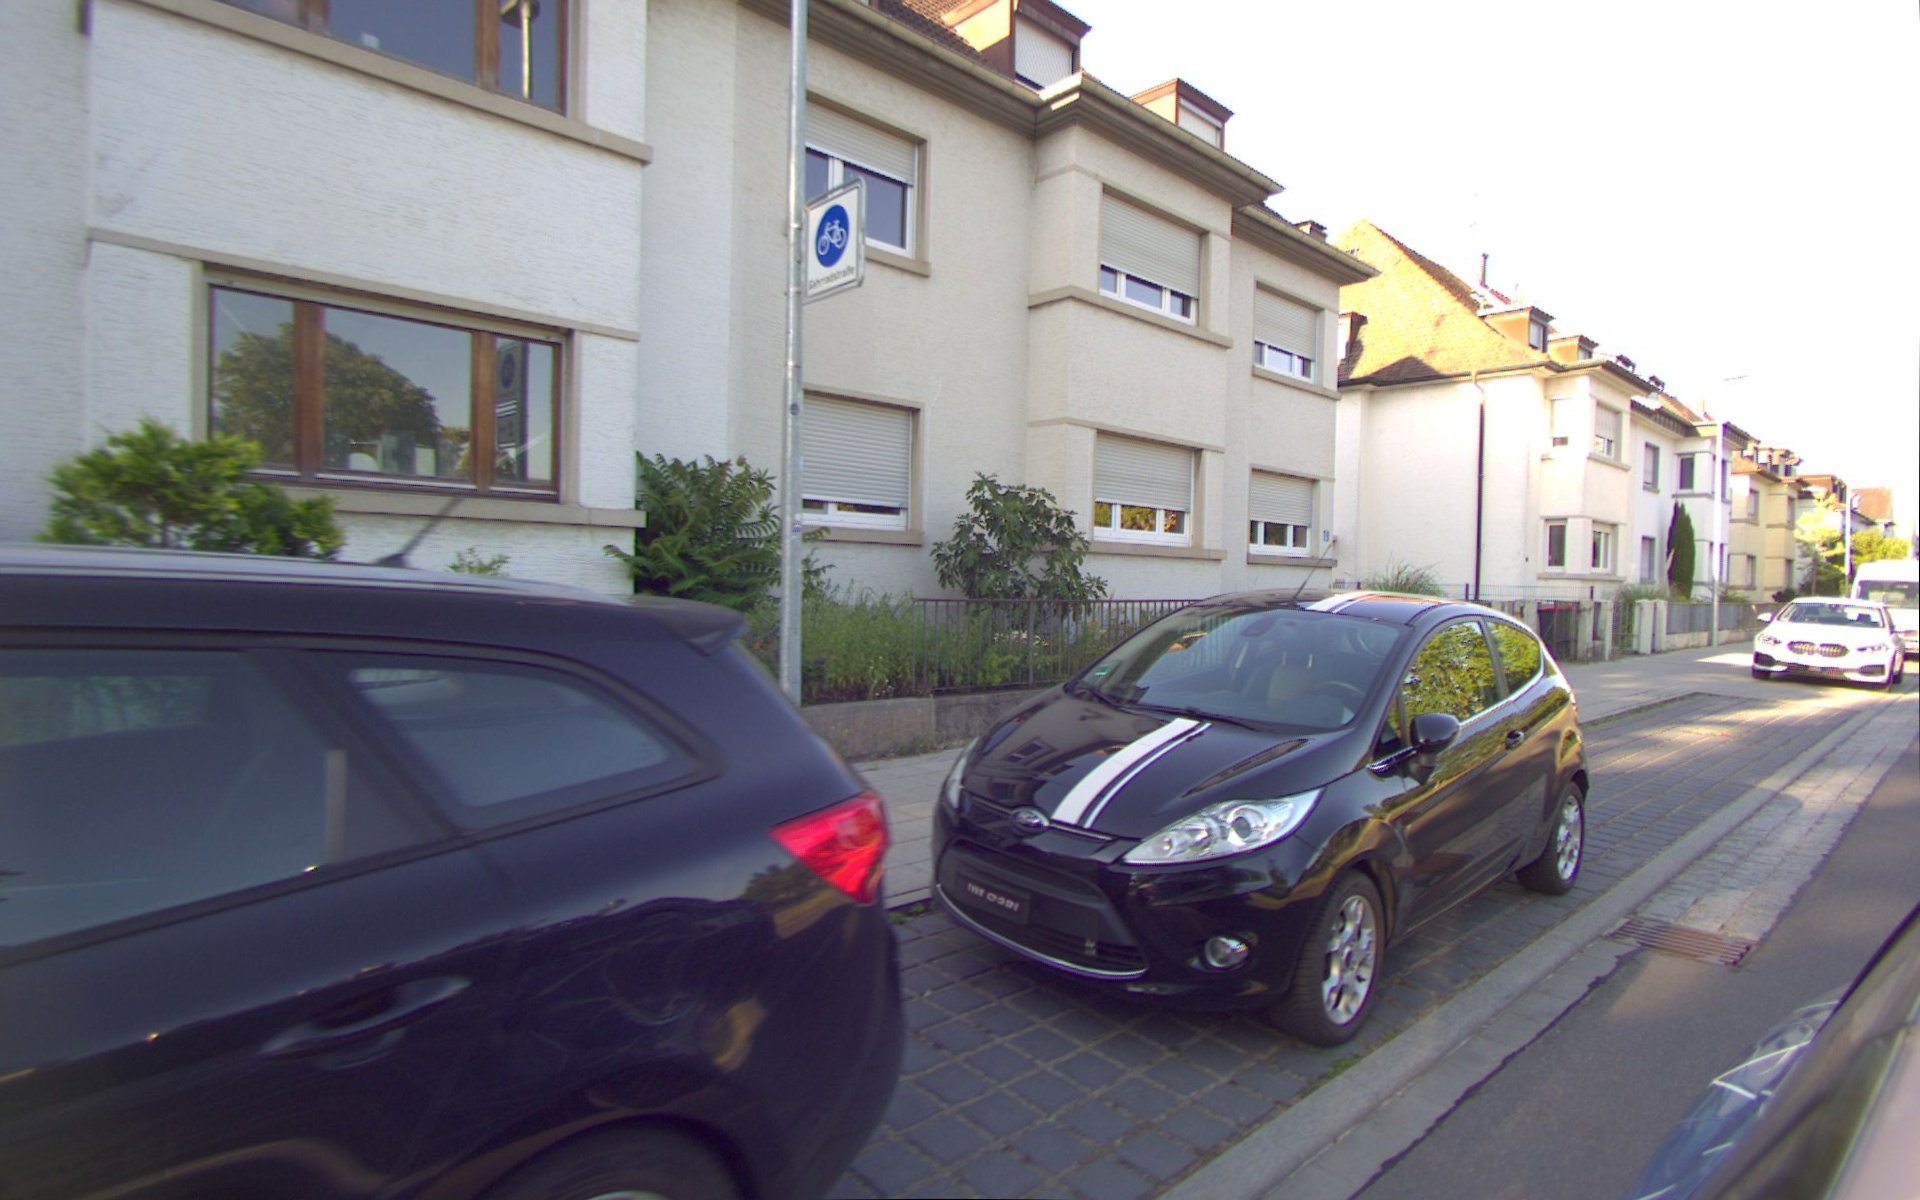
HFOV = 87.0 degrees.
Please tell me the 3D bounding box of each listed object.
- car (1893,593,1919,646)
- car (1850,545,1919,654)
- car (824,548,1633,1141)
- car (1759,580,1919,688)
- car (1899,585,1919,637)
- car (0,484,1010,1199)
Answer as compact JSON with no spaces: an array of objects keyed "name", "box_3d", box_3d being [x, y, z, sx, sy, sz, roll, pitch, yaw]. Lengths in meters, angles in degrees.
[{"name":"car","box_3d":[28.999,0.563,29.970,4.037,1.501,1.624,0,1,-42]},{"name":"car","box_3d":[24.594,-0.016,26.006,5.418,2.549,2.131,0,3,-45]},{"name":"car","box_3d":[1.504,0.605,4.608,3.917,1.489,1.721,0,4,-44]},{"name":"car","box_3d":[15.354,0.500,17.501,4.163,1.525,1.785,0,4,-44]},{"name":"car","box_3d":[32.634,0.391,33.601,4.405,1.665,1.780,0,2,-43]},{"name":"car","box_3d":[-2.036,0.573,1.182,4.184,1.492,1.749,0,4,-44]}]
